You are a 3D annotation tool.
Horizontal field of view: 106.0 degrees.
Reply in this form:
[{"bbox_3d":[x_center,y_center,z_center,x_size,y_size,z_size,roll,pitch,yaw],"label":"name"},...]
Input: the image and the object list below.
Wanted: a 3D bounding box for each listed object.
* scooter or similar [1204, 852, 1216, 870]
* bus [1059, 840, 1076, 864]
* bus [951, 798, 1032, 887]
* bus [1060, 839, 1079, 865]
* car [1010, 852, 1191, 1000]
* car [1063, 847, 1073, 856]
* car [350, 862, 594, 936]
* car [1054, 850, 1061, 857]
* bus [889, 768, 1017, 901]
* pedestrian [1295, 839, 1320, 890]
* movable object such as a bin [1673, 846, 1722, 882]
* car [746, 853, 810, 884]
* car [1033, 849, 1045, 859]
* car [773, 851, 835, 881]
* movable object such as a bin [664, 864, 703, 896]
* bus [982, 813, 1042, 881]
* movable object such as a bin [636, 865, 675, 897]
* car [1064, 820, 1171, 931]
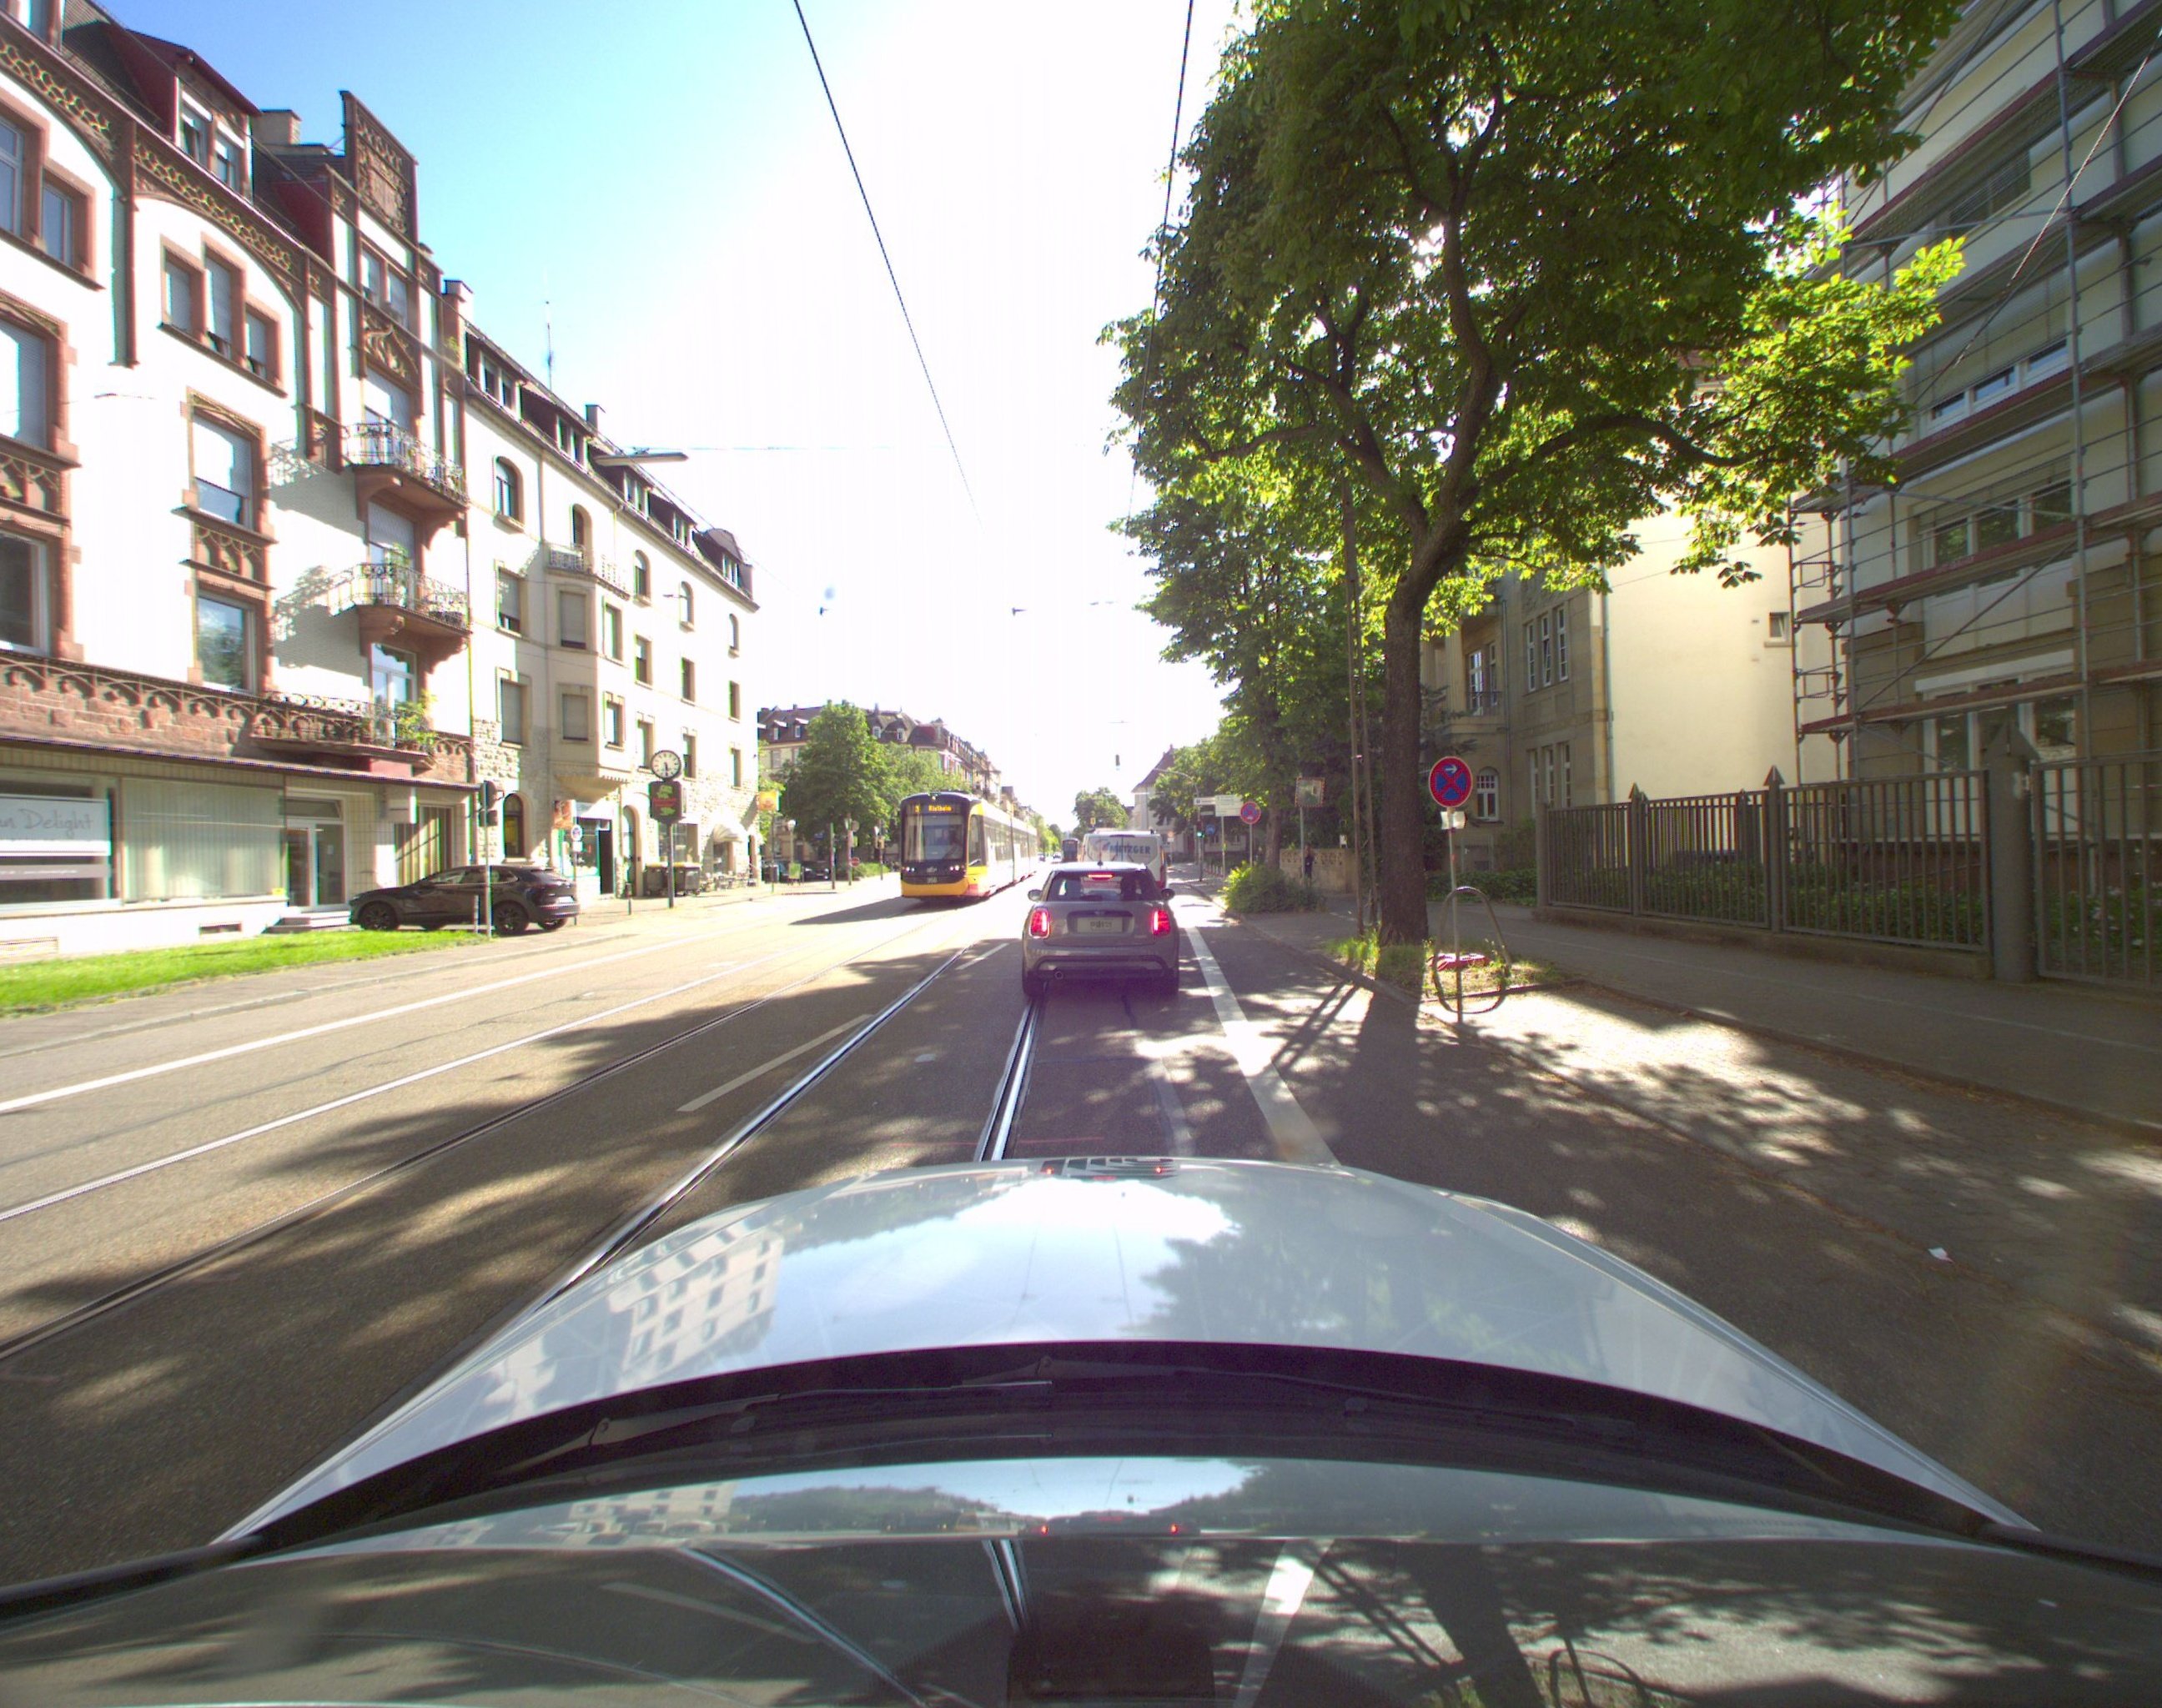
[{"bbox_3d":[9.314,0.495,58.760,0.673,1.310,1.329,0,-1,1],"label":"scooter or similar"},{"bbox_3d":[-2.004,-0.211,122.651,2.379,3.496,7.377,0,-1,-2],"label":"bus"},{"bbox_3d":[-4.166,-0.453,40.324,2.851,3.777,11.179,0,0,-1],"label":"bus"},{"bbox_3d":[-1.665,-0.263,115.242,2.379,3.496,7.377,0,-1,-2],"label":"bus"},{"bbox_3d":[0.259,0.743,10.221,1.808,1.488,4.001,0,-1,2],"label":"car"},{"bbox_3d":[-2.417,-0.491,148.355,1.859,1.563,3.997,0,-1,-2],"label":"car"},{"bbox_3d":[-13.592,0.989,18.394,3.981,1.503,1.768,1,-1,-6],"label":"car"},{"bbox_3d":[-5.655,-0.002,194.433,1.771,1.618,3.997,0,-1,-2],"label":"car"},{"bbox_3d":[-4.110,-0.524,29.062,2.851,3.777,11.494,0,0,-1],"label":"bus"},{"bbox_3d":[7.602,0.355,27.369,0.590,1.671,0.647,-3,-1,1],"label":"pedestrian"},{"bbox_3d":[16.673,0.277,22.036,0.831,0.955,0.648,0,-1,0],"label":"movable object such as a bin"},{"bbox_3d":[-20.554,0.987,55.193,3.949,2.014,2.012,-1,-1,30],"label":"car"},{"bbox_3d":[-6.976,0.069,135.347,1.771,1.618,3.997,0,-1,-2],"label":"car"},{"bbox_3d":[-19.496,0.823,57.247,3.949,2.014,2.012,-1,-1,30],"label":"car"},{"bbox_3d":[-16.024,1.045,32.841,0.941,1.273,1.145,0,-1,5],"label":"movable object such as a bin"},{"bbox_3d":[-4.173,-0.345,51.904,2.841,3.777,12.193,0,0,0],"label":"bus"},{"bbox_3d":[-16.960,1.065,32.470,0.829,1.223,1.245,0,-1,4],"label":"movable object such as a bin"},{"bbox_3d":[0.802,0.447,18.702,2.110,2.208,4.946,0,-1,2],"label":"car"}]
